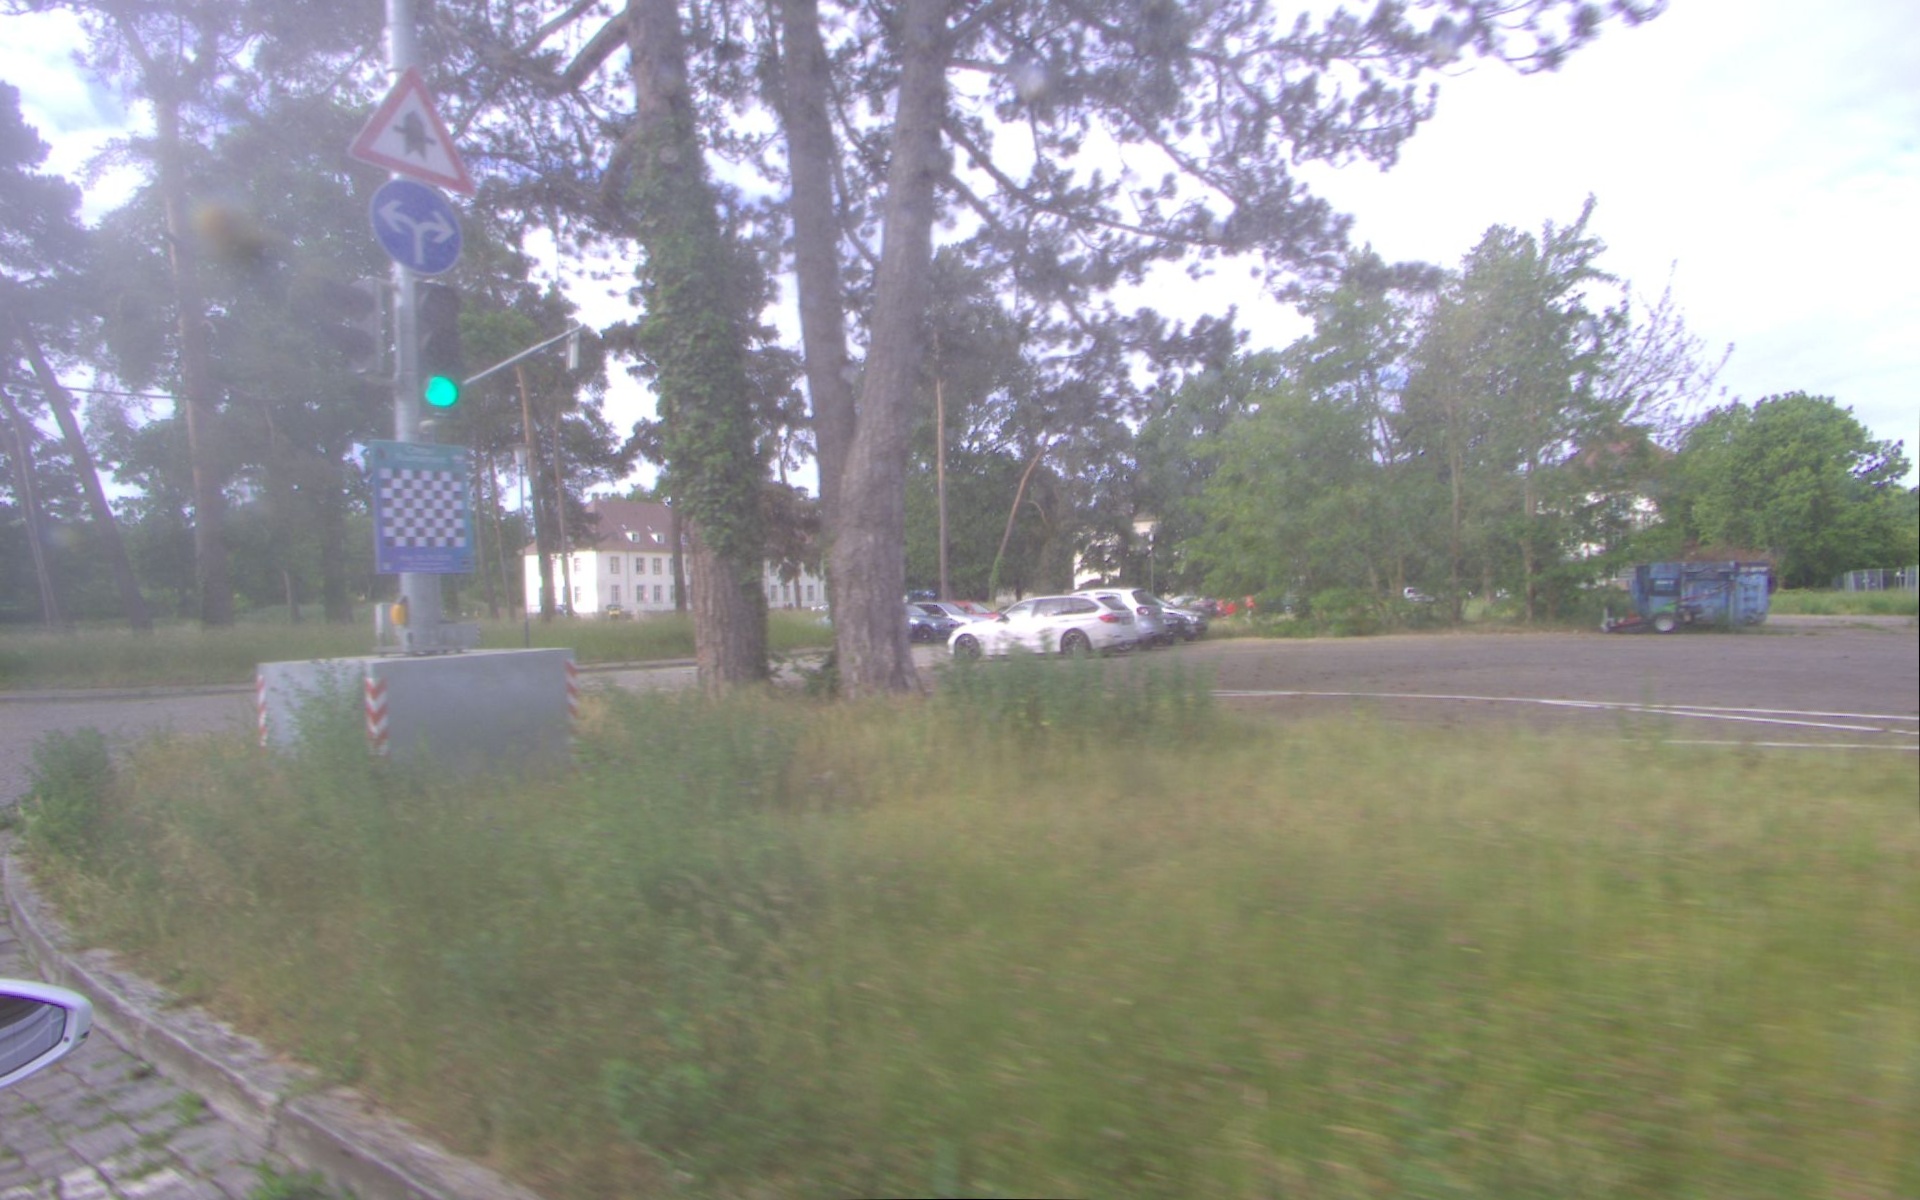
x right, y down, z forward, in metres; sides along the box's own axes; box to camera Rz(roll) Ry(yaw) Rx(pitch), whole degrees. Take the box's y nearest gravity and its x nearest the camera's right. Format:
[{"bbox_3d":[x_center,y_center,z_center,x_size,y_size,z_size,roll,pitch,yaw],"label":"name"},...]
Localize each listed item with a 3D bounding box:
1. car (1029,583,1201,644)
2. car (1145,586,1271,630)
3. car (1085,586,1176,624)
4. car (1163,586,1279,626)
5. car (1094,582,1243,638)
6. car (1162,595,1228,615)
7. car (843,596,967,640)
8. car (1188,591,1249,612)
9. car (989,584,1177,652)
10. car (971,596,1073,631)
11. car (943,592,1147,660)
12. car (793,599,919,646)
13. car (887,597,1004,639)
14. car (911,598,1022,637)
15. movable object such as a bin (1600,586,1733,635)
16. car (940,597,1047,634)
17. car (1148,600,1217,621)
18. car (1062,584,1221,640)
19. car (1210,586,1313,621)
[{"bbox_3d":[4.322,0.372,28.058,4.381,1.598,1.863,-1,1,30],"label":"car"},{"bbox_3d":[9.499,0.316,38.465,4.381,1.598,1.863,-1,1,30],"label":"car"},{"bbox_3d":[9.327,0.266,54.964,4.587,1.994,1.749,-1,1,30],"label":"car"},{"bbox_3d":[11.003,0.254,42.294,4.381,1.598,1.863,-1,1,30],"label":"car"},{"bbox_3d":[6.777,0.329,32.639,4.381,1.709,1.863,-1,1,30],"label":"car"},{"bbox_3d":[15.214,0.300,64.883,3.935,1.225,1.657,-1,1,25],"label":"car"},{"bbox_3d":[-2.067,0.674,37.441,4.380,1.544,1.750,-1,1,29],"label":"car"},{"bbox_3d":[18.531,0.112,71.738,3.938,1.373,1.655,-1,1,28],"label":"car"},{"bbox_3d":[3.105,0.449,25.540,4.381,1.598,1.863,-1,1,30],"label":"car"},{"bbox_3d":[2.829,0.626,45.934,4.381,1.544,1.749,-1,1,30],"label":"car"},{"bbox_3d":[1.940,0.608,23.223,4.382,1.434,1.749,-2,0,30],"label":"car"},{"bbox_3d":[-3.741,0.798,35.629,4.387,1.544,1.747,-1,1,35],"label":"car"},{"bbox_3d":[-0.599,0.709,39.656,4.381,1.544,1.749,-1,1,30],"label":"car"},{"bbox_3d":[0.243,0.747,42.034,4.381,1.544,1.749,-1,1,30],"label":"car"},{"bbox_3d":[16.889,0.226,24.044,2.506,1.098,1.059,1,2,32],"label":"movable object such as a bin"},{"bbox_3d":[1.450,0.673,43.972,4.381,1.544,1.749,-1,1,30],"label":"car"},{"bbox_3d":[13.833,0.634,62.286,3.935,1.225,1.657,-1,1,25],"label":"car"},{"bbox_3d":[5.505,0.372,30.458,4.381,1.598,1.863,-1,1,30],"label":"car"},{"bbox_3d":[14.268,0.170,47.486,4.381,1.598,1.863,-1,1,30],"label":"car"}]
